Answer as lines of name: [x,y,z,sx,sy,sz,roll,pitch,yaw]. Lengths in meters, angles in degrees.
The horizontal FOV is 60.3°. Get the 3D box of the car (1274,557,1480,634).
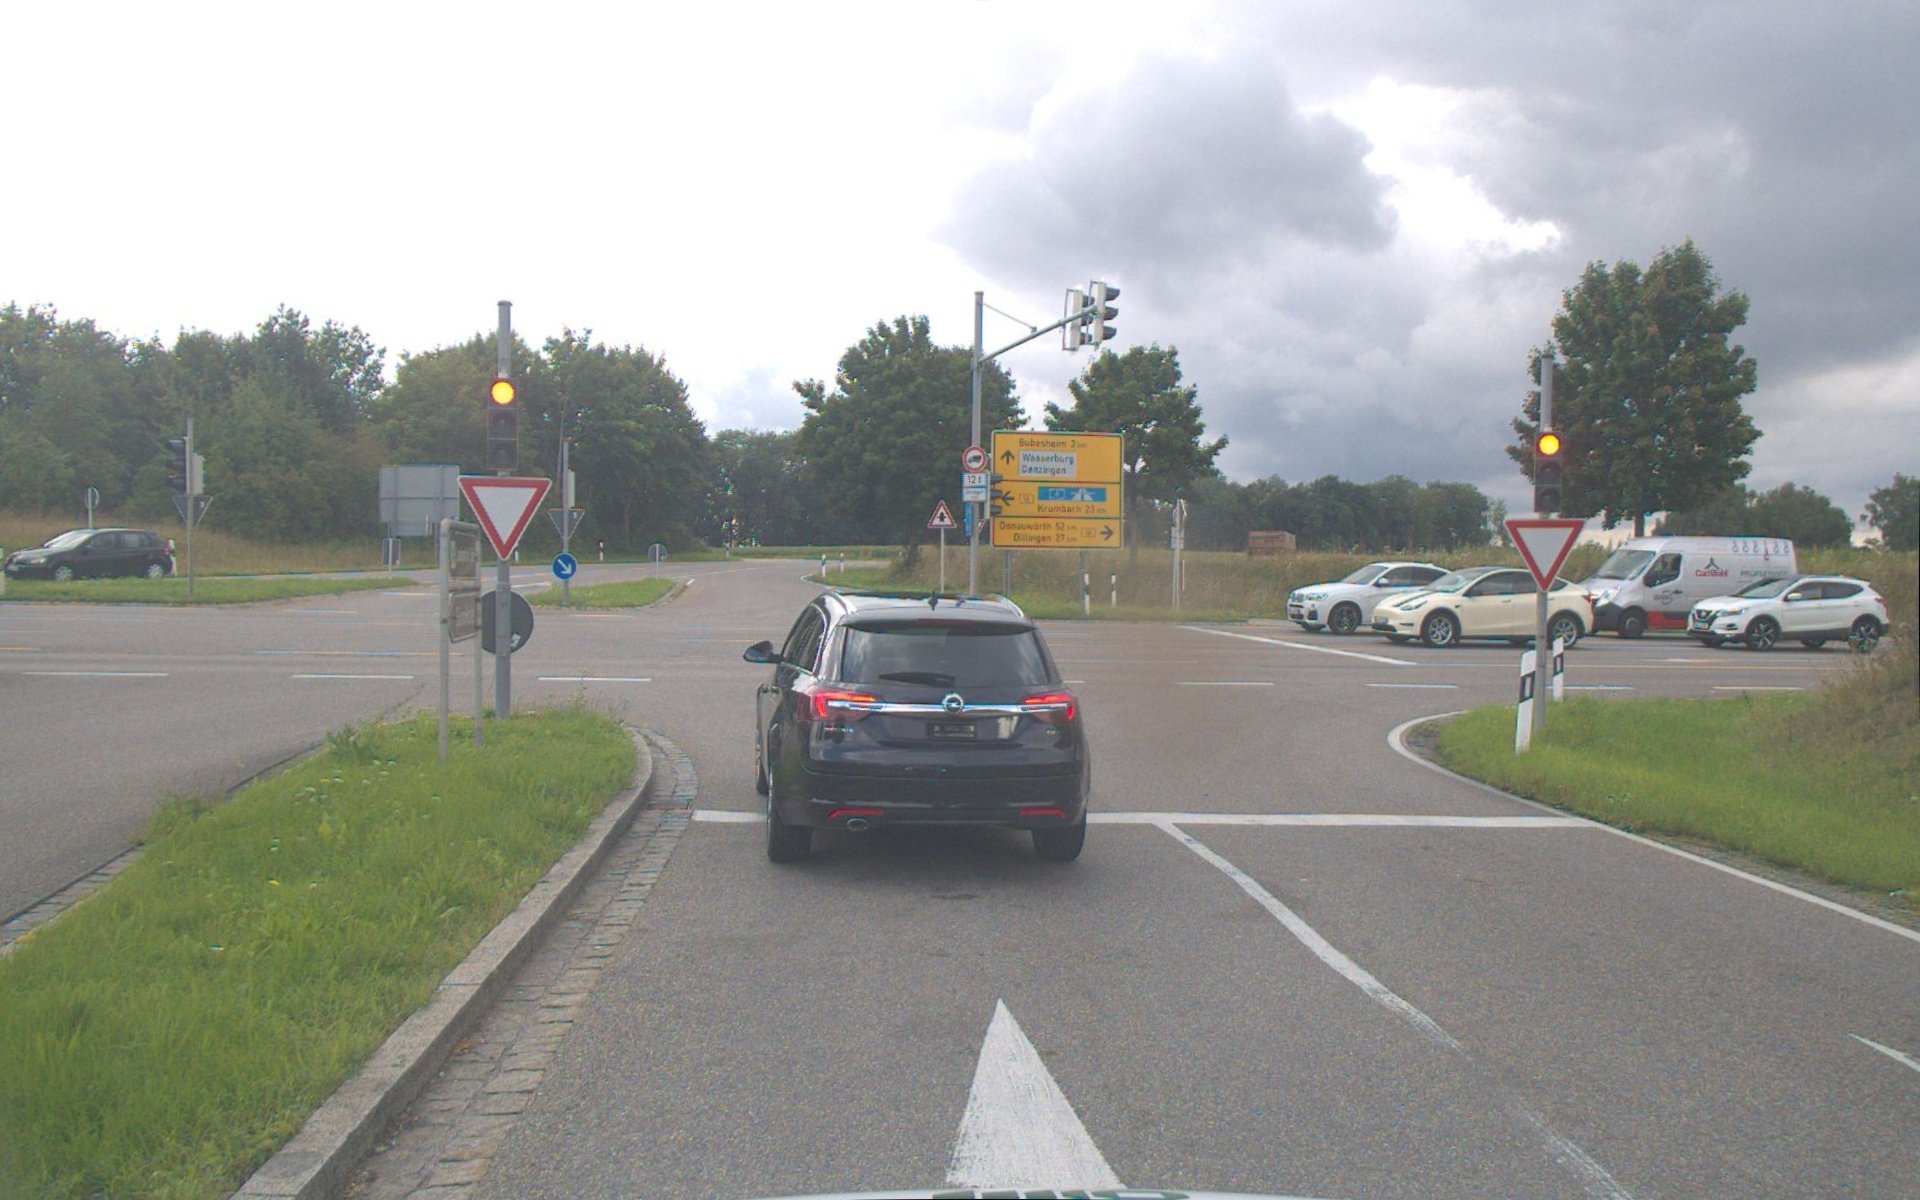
car: [9.641,-0.103,38.315,4.188,1.657,1.993,1,0,-14]

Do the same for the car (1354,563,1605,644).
car: [10.836,0.073,34.581,4.651,1.592,1.994,1,0,-13]

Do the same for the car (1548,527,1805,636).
car: [17.507,-0.434,40.520,5.398,2.484,2.391,1,0,-12]

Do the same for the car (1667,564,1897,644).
car: [18.111,0.078,36.515,4.234,1.658,1.994,1,0,-13]

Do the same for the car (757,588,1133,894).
car: [-0.319,0.687,10.337,1.774,1.476,4.265,1,1,-8]
